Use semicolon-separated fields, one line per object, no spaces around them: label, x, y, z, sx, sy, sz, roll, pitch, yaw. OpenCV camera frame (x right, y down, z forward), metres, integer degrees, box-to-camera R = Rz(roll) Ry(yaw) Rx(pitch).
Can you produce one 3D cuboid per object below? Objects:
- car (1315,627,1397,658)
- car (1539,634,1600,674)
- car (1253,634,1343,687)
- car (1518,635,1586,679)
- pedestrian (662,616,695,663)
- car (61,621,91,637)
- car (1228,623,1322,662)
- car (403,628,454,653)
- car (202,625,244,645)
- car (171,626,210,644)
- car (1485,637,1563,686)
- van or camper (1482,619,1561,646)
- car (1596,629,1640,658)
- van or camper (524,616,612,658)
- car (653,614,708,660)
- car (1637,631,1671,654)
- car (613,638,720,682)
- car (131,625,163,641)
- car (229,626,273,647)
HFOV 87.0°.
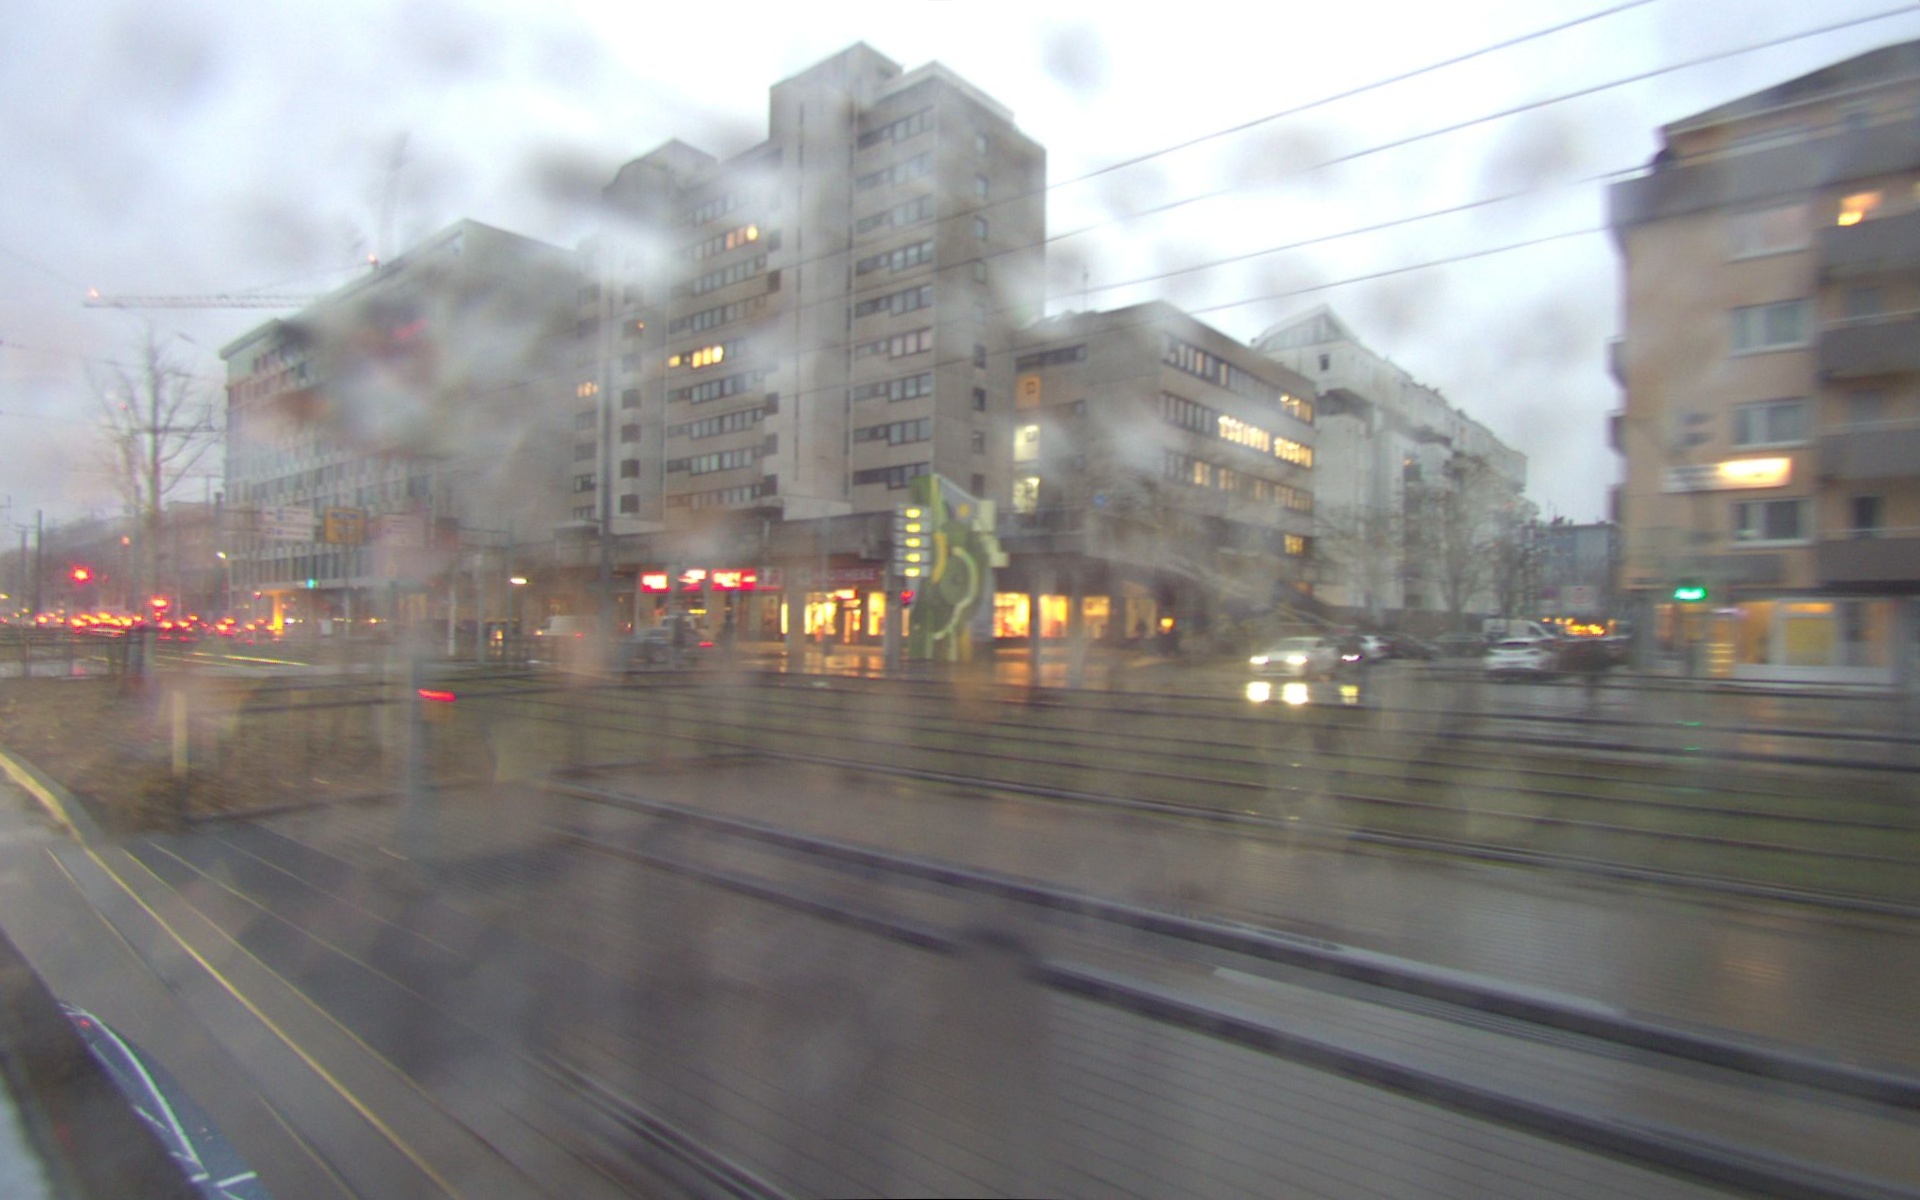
car;20.099;2.128;51.404;3.574;1.431;1.816;0;-1;37
car;26.255;2.279;43.532;1.756;1.564;3.788;-1;-2;39
car;11.613;2.024;34.641;1.684;1.523;3.948;0;1;39
car;22.994;2.163;39.264;1.756;1.564;3.788;-1;-2;39
pedestrian;-9.049;1.268;32.533;0.629;1.501;0.784;-1;-2;33
car;-86.973;2.828;99.554;3.869;1.460;1.576;0;-1;39
car;13.752;1.813;44.274;3.632;1.613;1.602;0;-1;36
car;-35.693;2.702;68.079;1.656;1.630;3.781;0;-1;-4
car;-58.309;2.752;80.030;3.886;1.523;1.732;0;-1;39
car;-65.195;2.928;85.707;3.869;1.460;1.732;0;-1;39
car;19.753;2.102;35.370;1.776;1.564;3.788;-1;-2;39
van or camper;48.016;2.763;86.570;5.631;2.260;1.972;-1;-2;41
car;37.372;2.437;57.446;1.756;1.564;3.788;-1;-2;39
van or camper;-21.148;1.949;54.433;5.650;2.113;1.973;-1;-2;41
car;-13.694;1.775;49.808;1.969;2.029;4.580;0;1;-7
car;50.988;3.104;74.311;1.756;1.564;3.788;-1;-2;39
car;-12.038;2.406;41.348;4.701;1.557;1.973;0;-1;41
car;-76.102;3.076;94.733;3.869;1.460;1.576;0;-1;39
car;-51.879;2.663;74.033;3.763;1.460;1.656;0;-1;39
